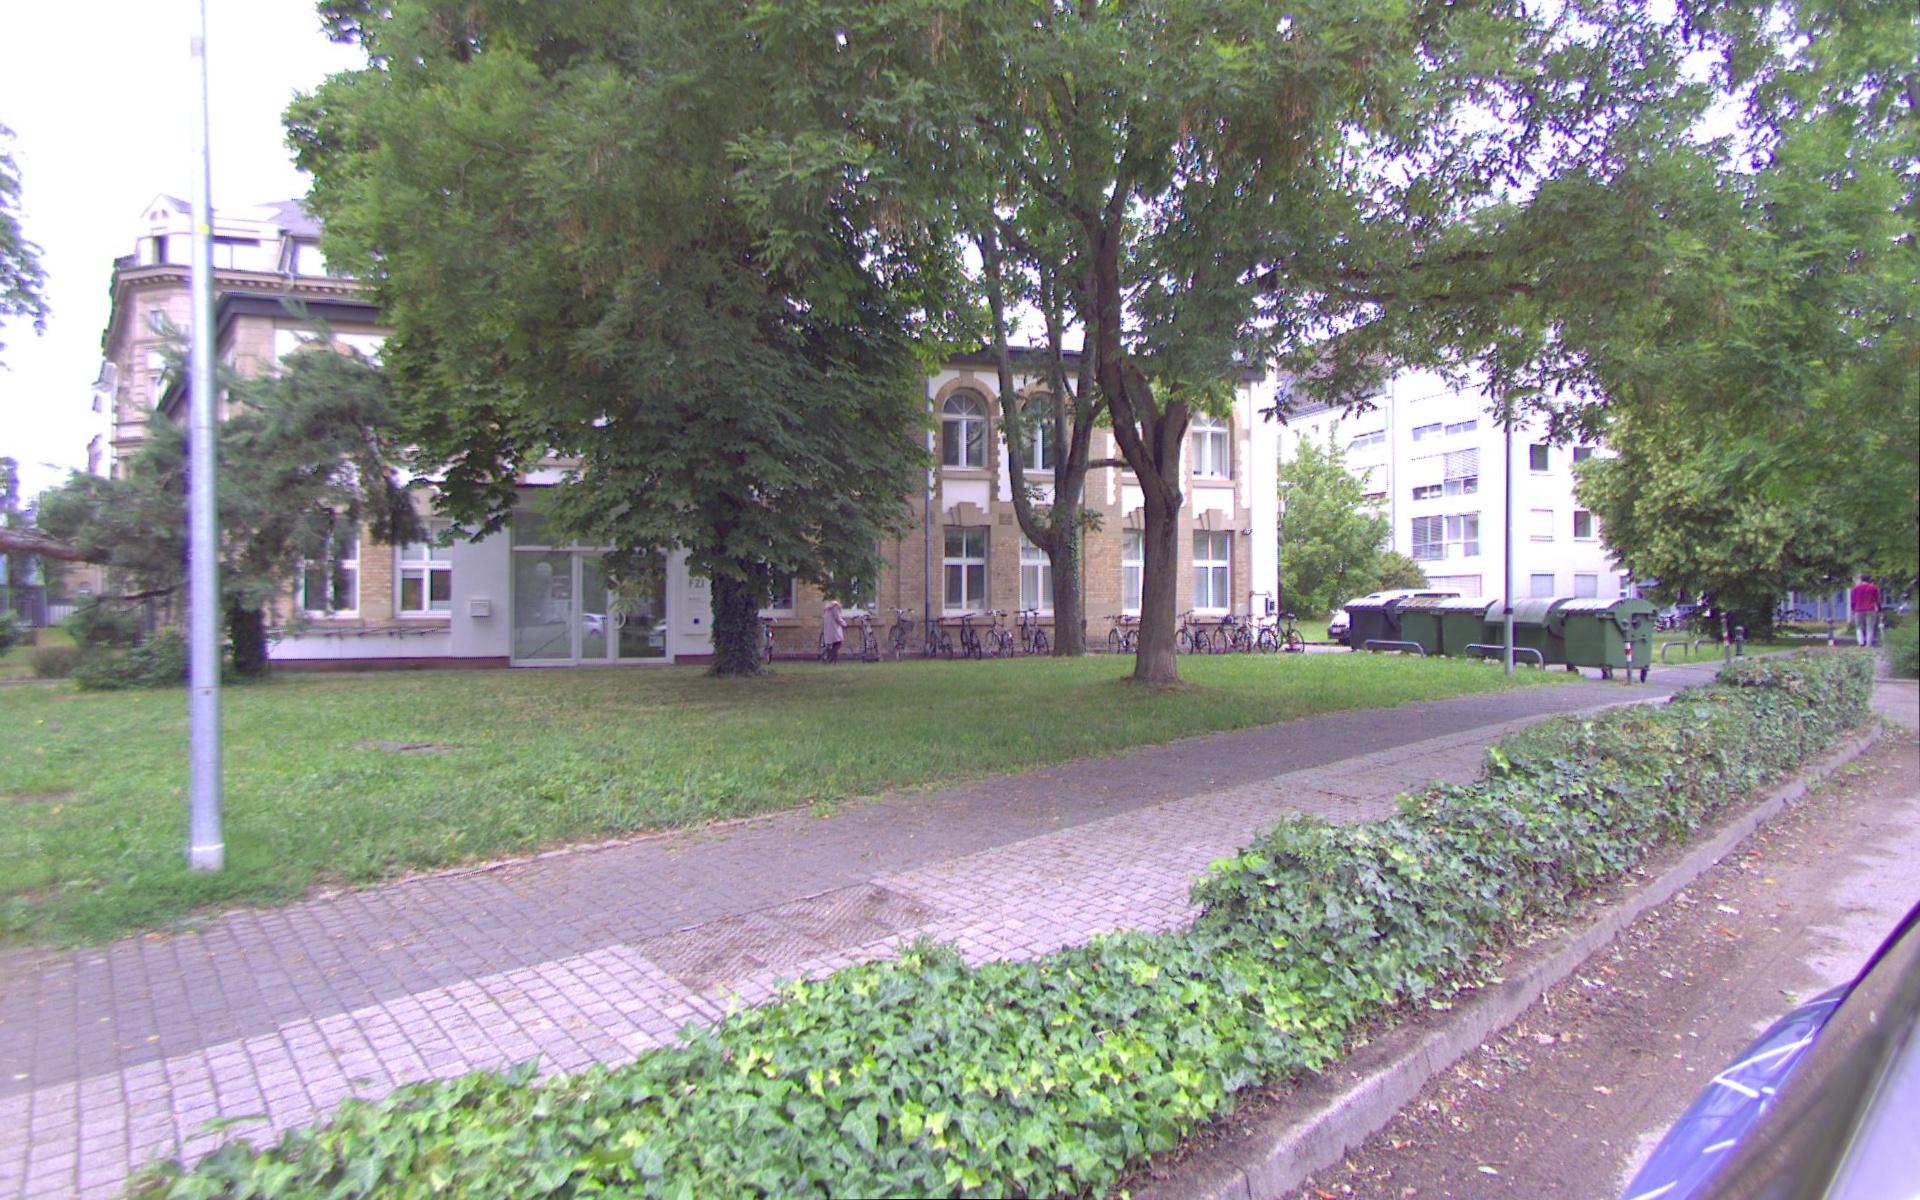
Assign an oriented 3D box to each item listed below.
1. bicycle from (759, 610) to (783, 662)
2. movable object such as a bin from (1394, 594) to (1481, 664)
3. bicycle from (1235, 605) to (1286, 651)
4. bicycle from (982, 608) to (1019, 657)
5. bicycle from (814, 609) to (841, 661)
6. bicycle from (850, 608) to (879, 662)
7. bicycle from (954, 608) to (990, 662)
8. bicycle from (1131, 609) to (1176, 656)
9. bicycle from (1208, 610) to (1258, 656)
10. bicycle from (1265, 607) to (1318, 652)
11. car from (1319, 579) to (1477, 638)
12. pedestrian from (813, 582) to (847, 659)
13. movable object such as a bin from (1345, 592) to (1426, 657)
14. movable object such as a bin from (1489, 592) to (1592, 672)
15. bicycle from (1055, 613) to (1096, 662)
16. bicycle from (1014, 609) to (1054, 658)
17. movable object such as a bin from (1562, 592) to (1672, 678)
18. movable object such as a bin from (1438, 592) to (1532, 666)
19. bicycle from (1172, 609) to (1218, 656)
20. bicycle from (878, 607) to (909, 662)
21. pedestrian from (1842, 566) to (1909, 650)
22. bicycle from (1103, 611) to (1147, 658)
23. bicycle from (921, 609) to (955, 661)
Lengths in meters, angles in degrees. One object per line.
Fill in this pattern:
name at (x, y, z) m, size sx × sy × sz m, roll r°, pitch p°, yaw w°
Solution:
bicycle at (-4.262, 0.785, 22.740) m, size 0.451 × 1.129 × 1.748 m, roll 0°, pitch 0°, yaw -13°
movable object such as a bin at (10.459, 0.614, 22.191) m, size 1.085 × 1.469 × 1.329 m, roll 0°, pitch -1°, yaw -19°
bicycle at (7.776, 0.707, 26.263) m, size 0.451 × 1.129 × 1.748 m, roll 0°, pitch 0°, yaw -13°
bicycle at (0.958, 0.754, 24.292) m, size 0.451 × 1.129 × 1.748 m, roll 0°, pitch 0°, yaw -13°
bicycle at (-3.035, 0.774, 23.077) m, size 0.451 × 1.129 × 1.748 m, roll 0°, pitch 0°, yaw -13°
bicycle at (-2.231, 0.786, 23.473) m, size 0.451 × 1.128 × 1.748 m, roll 0°, pitch 2°, yaw -13°
bicycle at (0.270, 0.804, 24.002) m, size 0.451 × 1.128 × 1.749 m, roll 0°, pitch 2°, yaw -13°
bicycle at (4.829, 0.794, 25.352) m, size 0.451 × 1.129 × 1.748 m, roll 0°, pitch 0°, yaw -13°
bicycle at (7.002, 0.822, 26.042) m, size 0.451 × 1.129 × 1.748 m, roll 0°, pitch 0°, yaw -13°
bicycle at (8.662, 0.742, 26.513) m, size 0.451 × 1.129 × 1.748 m, roll 0°, pitch 0°, yaw -14°
car at (14.992, 0.297, 34.714) m, size 4.673 × 1.898 × 1.904 m, roll 0°, pitch -3°, yaw -13°
pedestrian at (-2.750, 0.427, 21.363) m, size 0.614 × 1.607 × 0.605 m, roll 0°, pitch -1°, yaw -15°
movable object such as a bin at (9.947, 0.549, 23.692) m, size 1.085 × 1.469 × 1.365 m, roll 0°, pitch -1°, yaw -20°
movable object such as a bin at (11.064, 0.589, 19.337) m, size 1.085 × 1.469 × 1.289 m, roll 0°, pitch -1°, yaw -17°
bicycle at (2.814, 0.889, 24.782) m, size 0.451 × 1.129 × 1.748 m, roll 0°, pitch 0°, yaw -13°
bicycle at (1.778, 0.782, 24.519) m, size 0.451 × 1.129 × 1.748 m, roll 0°, pitch 0°, yaw -13°
movable object such as a bin at (11.594, 0.596, 17.920) m, size 1.050 × 1.452 × 1.277 m, roll 0°, pitch 0°, yaw -6°
movable object such as a bin at (10.800, 0.575, 20.852) m, size 1.085 × 1.469 × 1.297 m, roll 0°, pitch -1°, yaw -19°
bicycle at (5.932, 0.804, 25.574) m, size 0.451 × 1.129 × 1.747 m, roll 0°, pitch 0°, yaw -11°
bicycle at (-1.567, 0.776, 23.580) m, size 0.451 × 1.128 × 1.749 m, roll 0°, pitch 3°, yaw -13°
pedestrian at (23.478, 0.195, 25.956) m, size 1.176 × 2.090 × 0.796 m, roll 0°, pitch 0°, yaw -19°
bicycle at (4.080, 0.838, 25.181) m, size 0.451 × 1.129 × 1.748 m, roll 0°, pitch 0°, yaw -13°
bicycle at (-0.522, 0.793, 23.786) m, size 0.451 × 1.128 × 1.748 m, roll 0°, pitch 1°, yaw -13°
